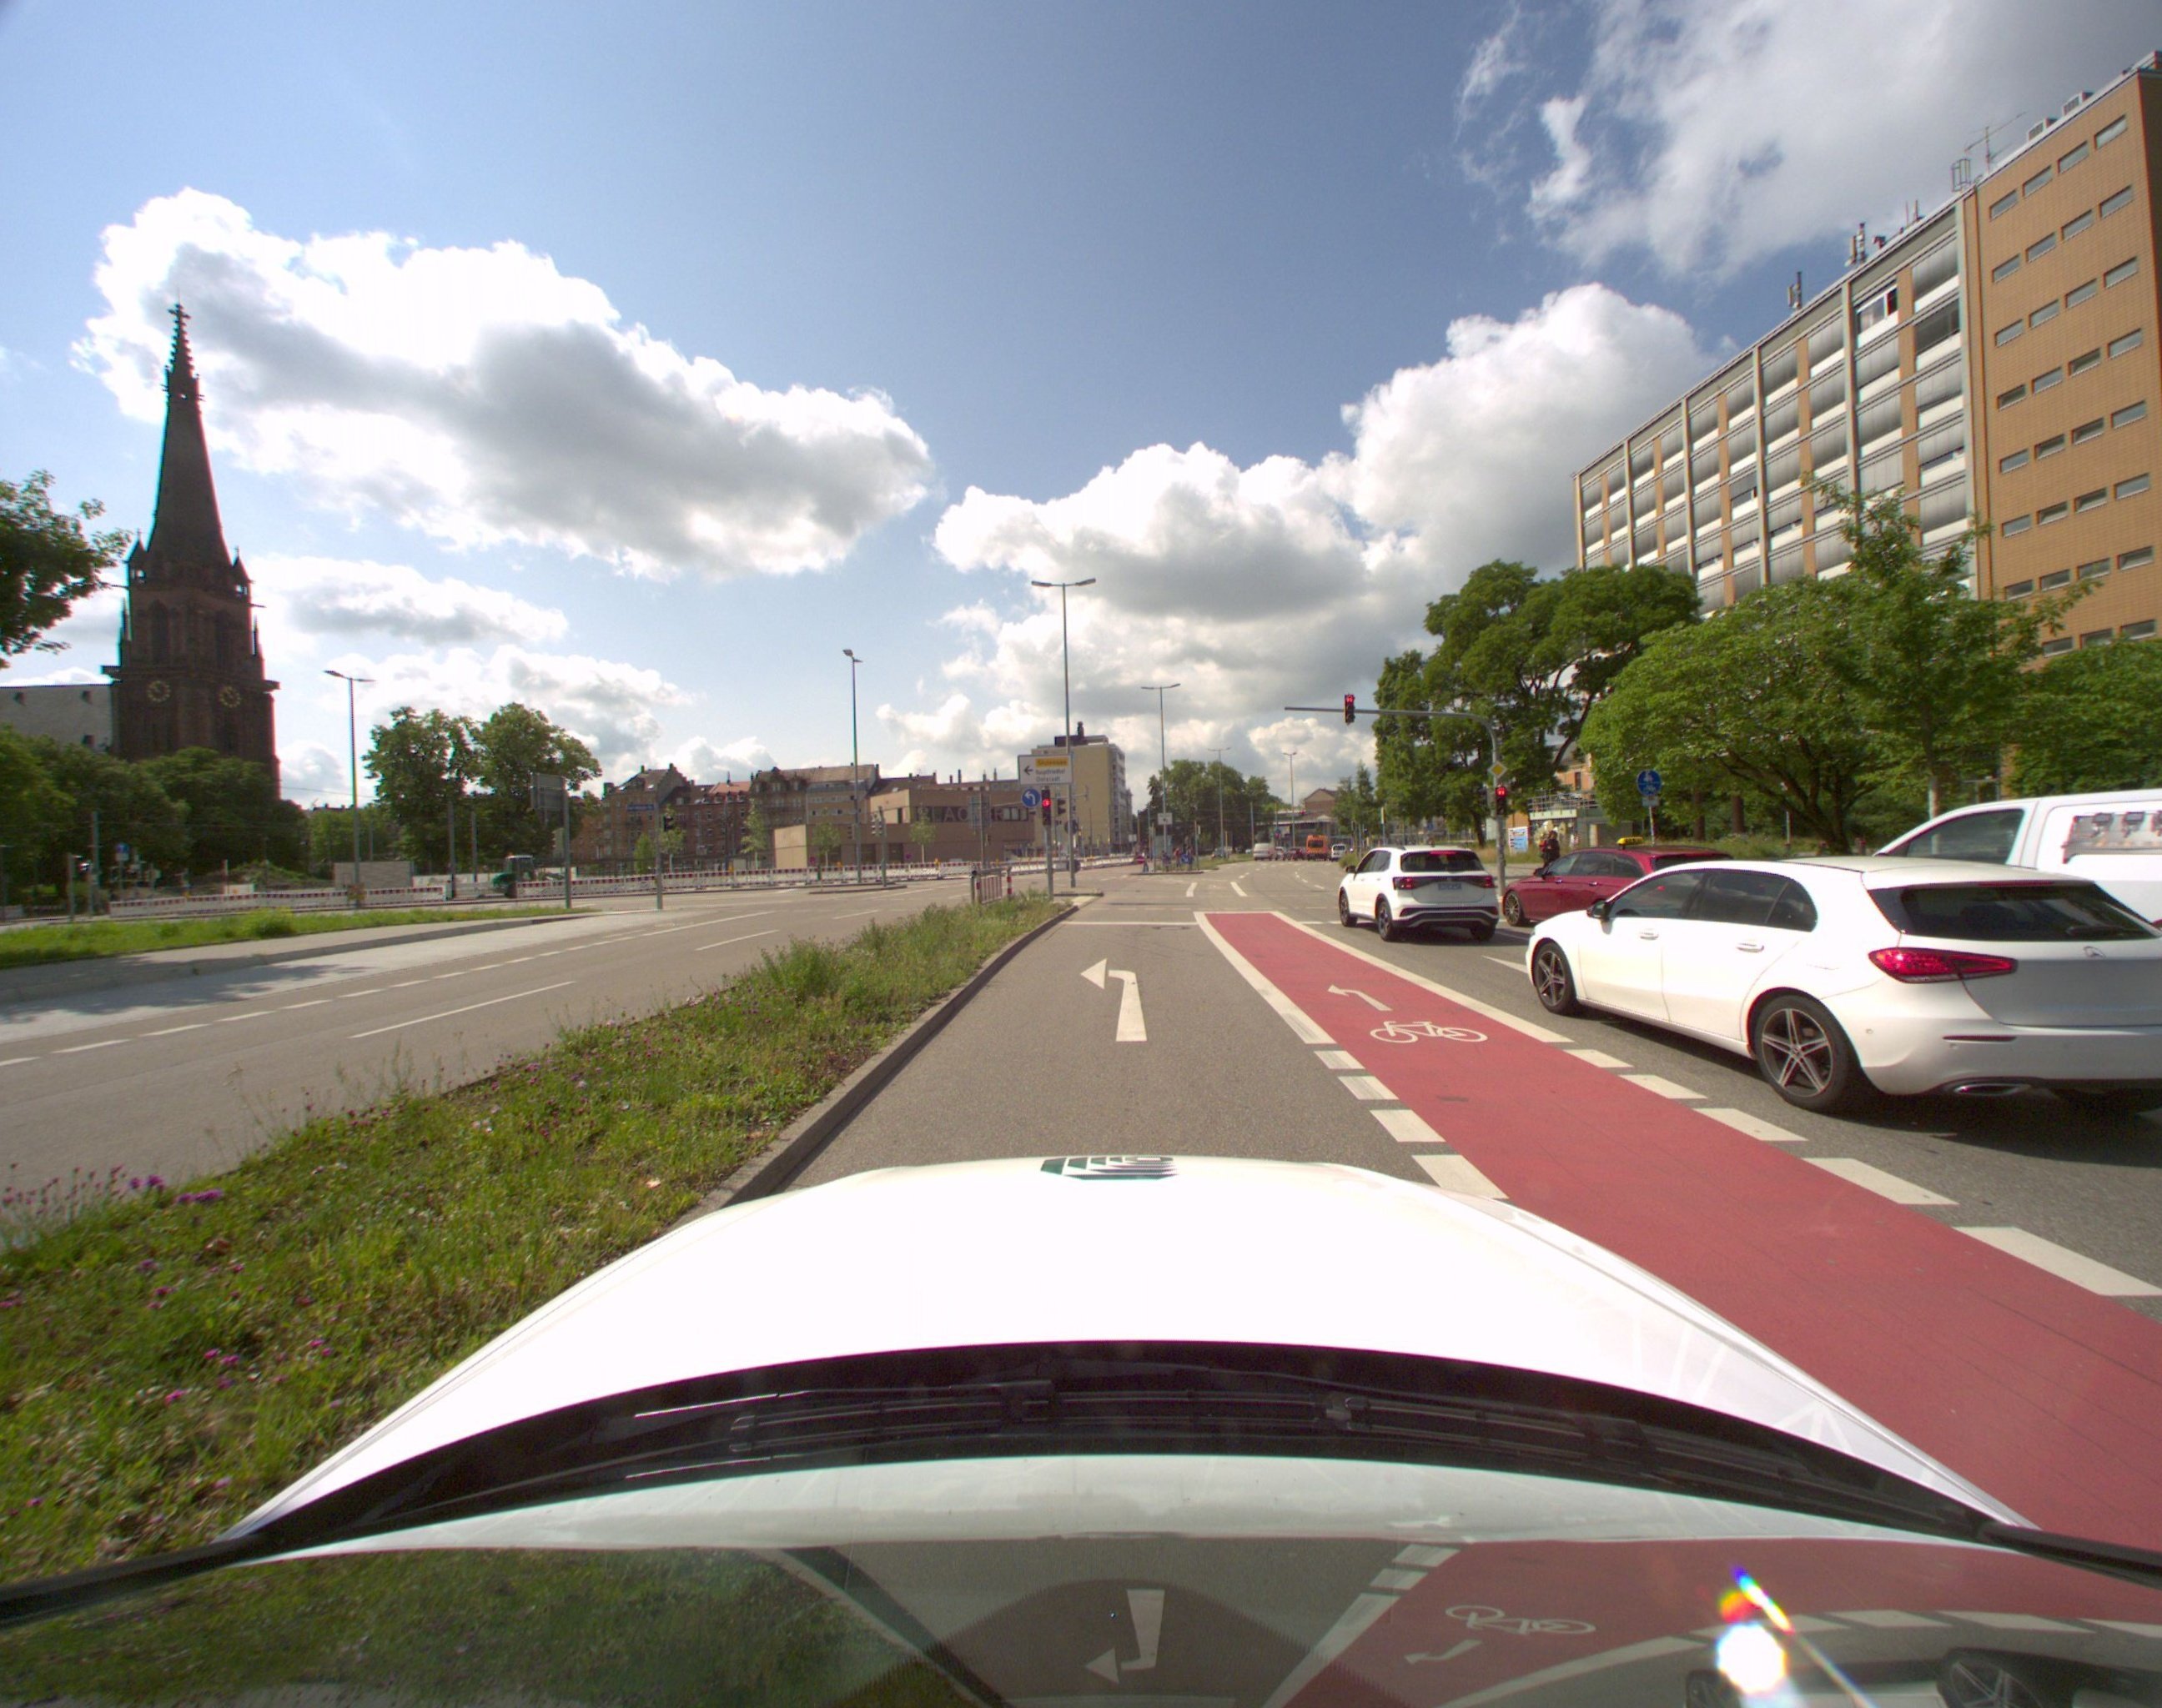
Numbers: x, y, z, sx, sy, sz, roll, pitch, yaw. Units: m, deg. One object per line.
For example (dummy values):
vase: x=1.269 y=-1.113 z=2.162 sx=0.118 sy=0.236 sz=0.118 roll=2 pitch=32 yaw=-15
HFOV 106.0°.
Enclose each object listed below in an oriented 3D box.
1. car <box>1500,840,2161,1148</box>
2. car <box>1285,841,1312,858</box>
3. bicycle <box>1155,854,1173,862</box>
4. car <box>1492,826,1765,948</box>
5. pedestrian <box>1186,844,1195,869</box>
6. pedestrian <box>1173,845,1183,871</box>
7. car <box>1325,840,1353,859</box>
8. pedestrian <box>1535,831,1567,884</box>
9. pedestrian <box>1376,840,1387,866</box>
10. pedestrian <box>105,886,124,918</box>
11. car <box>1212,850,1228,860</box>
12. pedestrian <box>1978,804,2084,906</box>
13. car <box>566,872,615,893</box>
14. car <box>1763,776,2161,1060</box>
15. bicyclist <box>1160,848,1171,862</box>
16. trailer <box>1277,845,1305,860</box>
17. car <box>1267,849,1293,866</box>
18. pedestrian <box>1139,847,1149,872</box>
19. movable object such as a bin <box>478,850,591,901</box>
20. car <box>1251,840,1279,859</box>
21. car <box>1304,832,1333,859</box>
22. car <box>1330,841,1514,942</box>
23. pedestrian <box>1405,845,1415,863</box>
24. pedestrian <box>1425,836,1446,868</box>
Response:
car: x=5.109 y=0.655 z=6.080 sx=1.895 sy=1.424 sz=4.389 roll=-2 pitch=0 yaw=3
car: x=24.760 y=-0.494 z=92.693 sx=1.975 sy=1.826 sz=4.025 roll=-3 pitch=0 yaw=28
bicycle: x=12.051 y=0.552 z=118.186 sx=2.357 sy=1.066 sz=0.863 roll=-2 pitch=0 yaw=23
car: x=8.701 y=0.444 z=13.513 sx=1.674 sy=1.641 sz=4.466 roll=-2 pitch=0 yaw=3
pedestrian: x=7.579 y=0.191 z=56.541 sx=0.521 sy=1.684 sz=0.626 roll=-2 pitch=0 yaw=12
pedestrian: x=6.501 y=0.281 z=54.565 sx=0.521 sy=1.733 sz=0.626 roll=-2 pitch=0 yaw=12
car: x=26.595 y=-0.450 z=83.851 sx=1.975 sy=1.795 sz=4.025 roll=-3 pitch=0 yaw=28
pedestrian: x=15.613 y=0.113 z=27.084 sx=0.736 sy=1.735 sz=0.682 roll=-2 pitch=0 yaw=18
pedestrian: x=21.103 y=-0.075 z=57.177 sx=0.654 sy=1.733 sz=0.581 roll=-2 pitch=0 yaw=21
pedestrian: x=-58.524 y=2.903 z=49.301 sx=0.524 sy=1.850 sz=0.501 roll=-3 pitch=-1 yaw=9
car: x=19.474 y=0.137 z=113.869 sx=1.778 sy=1.388 sz=4.244 roll=-2 pitch=0 yaw=15
pedestrian: x=15.953 y=0.022 z=13.698 sx=0.864 sy=1.638 sz=0.721 roll=-2 pitch=0 yaw=4
car: x=-51.207 y=2.970 z=85.082 sx=4.199 sy=1.882 sz=1.783 roll=-2 pitch=0 yaw=-36
car: x=8.109 y=0.383 z=6.207 sx=1.934 sy=1.870 sz=4.830 roll=-2 pitch=0 yaw=3
bicyclist: x=12.258 y=0.121 z=118.102 sx=1.208 sy=1.909 sz=0.863 roll=-2 pitch=0 yaw=23
trailer: x=23.160 y=-0.205 z=89.729 sx=1.975 sy=1.477 sz=4.025 roll=-3 pitch=0 yaw=28
car: x=24.485 y=0.415 z=100.019 sx=1.973 sy=1.938 sz=4.666 roll=-3 pitch=0 yaw=27
pedestrian: x=4.360 y=0.393 z=56.587 sx=0.521 sy=1.733 sz=0.626 roll=-2 pitch=0 yaw=12
movable object such as a bin: x=-34.556 y=1.315 z=51.595 sx=5.575 sy=2.885 sz=2.260 roll=-2 pitch=-1 yaw=-44
car: x=20.900 y=-0.565 z=92.238 sx=1.987 sy=1.966 sz=4.666 roll=-3 pitch=0 yaw=27
car: x=25.820 y=-0.935 z=88.393 sx=2.110 sy=2.780 sz=4.666 roll=-3 pitch=0 yaw=27
car: x=5.830 y=0.562 z=14.461 sx=1.783 sy=1.539 sz=4.015 roll=0 pitch=0 yaw=3
pedestrian: x=33.024 y=-0.011 z=81.786 sx=0.781 sy=1.784 sz=0.671 roll=-2 pitch=0 yaw=25
pedestrian: x=17.273 y=-0.085 z=39.691 sx=0.766 sy=1.508 sz=0.553 roll=-2 pitch=0 yaw=8
